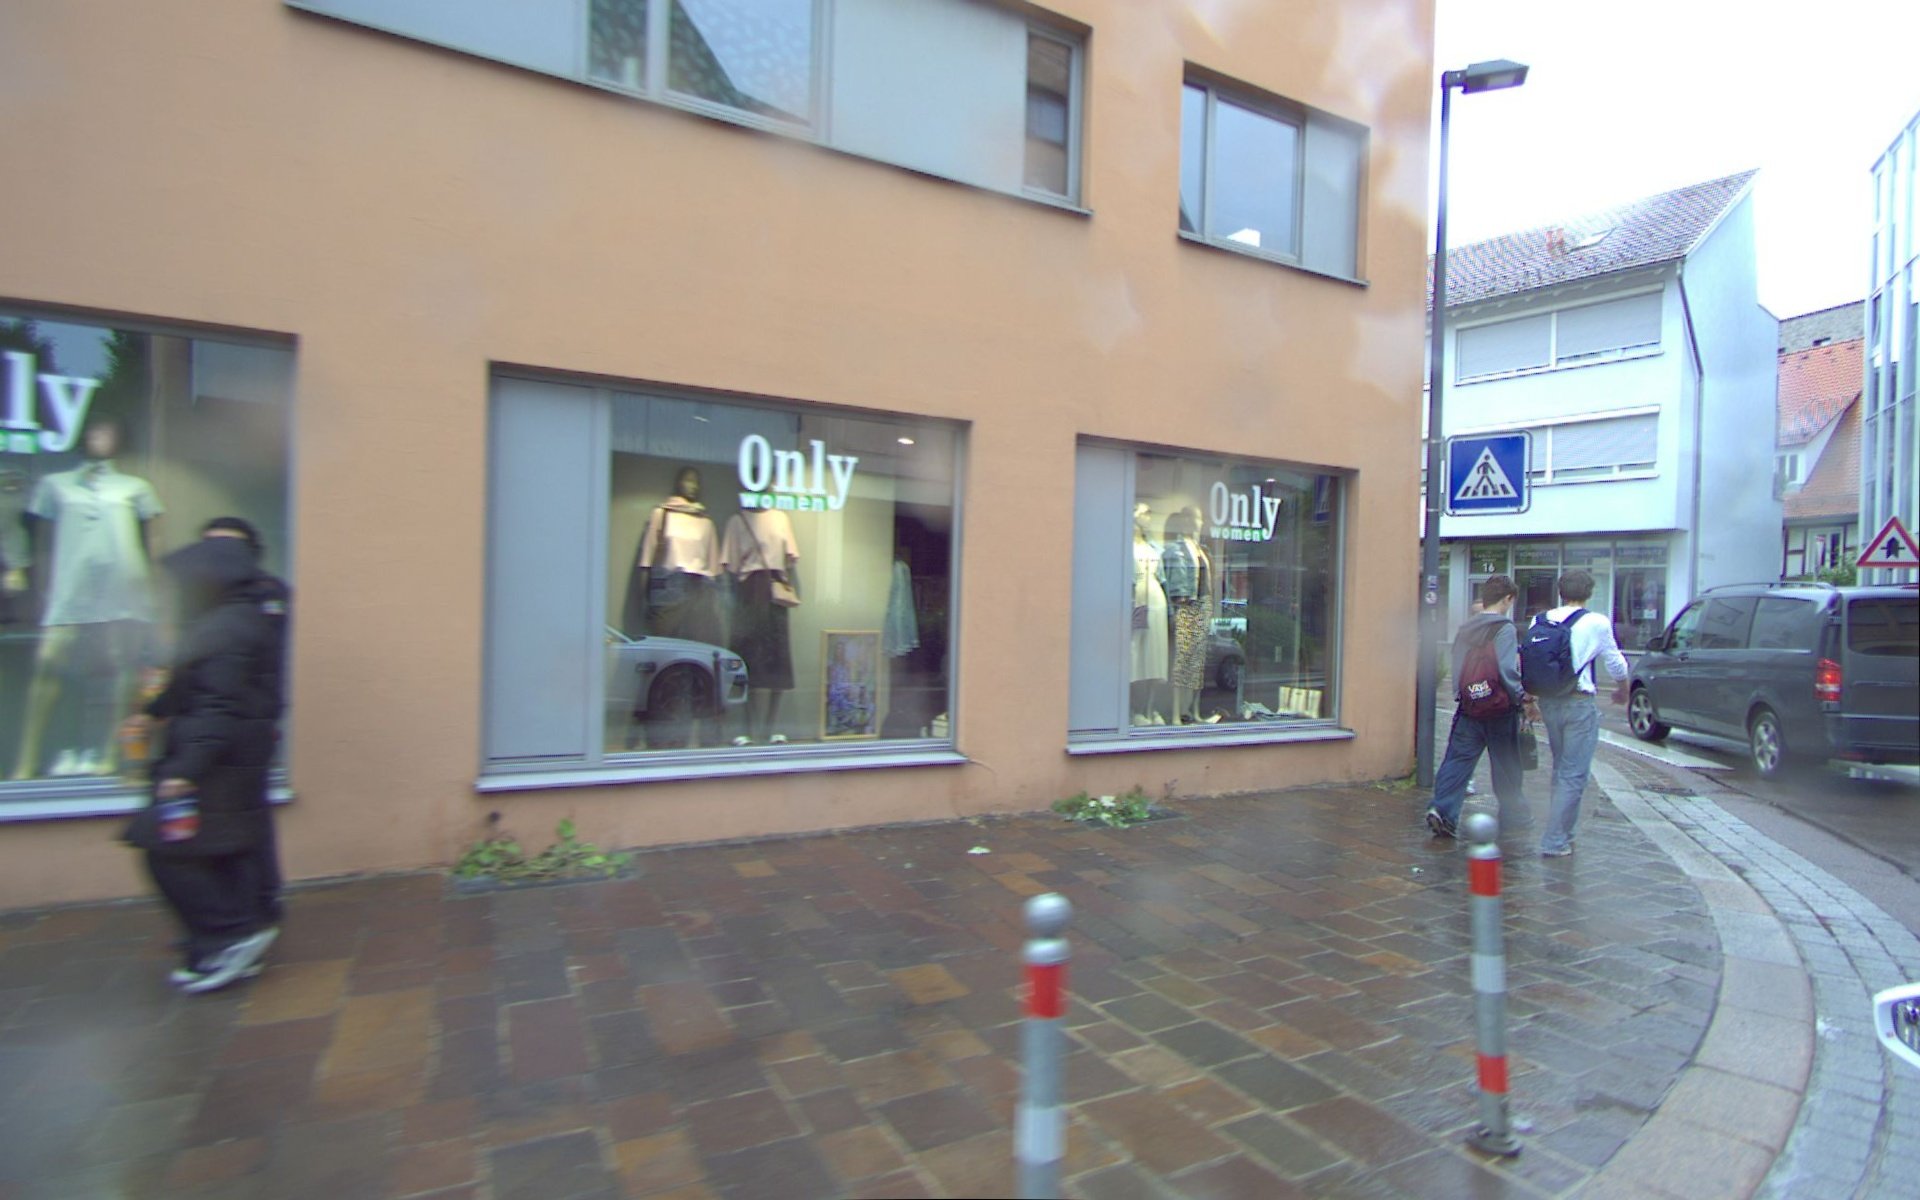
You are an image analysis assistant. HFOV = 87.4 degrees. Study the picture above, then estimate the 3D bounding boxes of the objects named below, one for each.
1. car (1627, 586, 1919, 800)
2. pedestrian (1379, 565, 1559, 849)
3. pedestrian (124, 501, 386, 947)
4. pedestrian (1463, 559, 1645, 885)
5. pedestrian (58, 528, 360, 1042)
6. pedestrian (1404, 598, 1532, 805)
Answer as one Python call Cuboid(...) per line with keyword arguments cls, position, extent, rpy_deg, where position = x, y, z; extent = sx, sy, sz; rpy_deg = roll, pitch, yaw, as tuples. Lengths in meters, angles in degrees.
Cuboid(cls="car", position=(9.055, 0.793, 10.692), extent=(1.914, 1.805, 4.728), rpy_deg=(1, 0, 17))
Cuboid(cls="pedestrian", position=(3.576, 0.704, 7.055), extent=(1.048, 1.824, 0.688), rpy_deg=(2, -1, -34))
Cuboid(cls="pedestrian", position=(-2.995, 0.488, 4.352), extent=(0.798, 1.735, 0.620), rpy_deg=(2, 1, -26))
Cuboid(cls="pedestrian", position=(3.703, 0.699, 6.248), extent=(1.053, 1.830, 0.657), rpy_deg=(2, -1, -41))
Cuboid(cls="pedestrian", position=(-2.710, 0.600, 3.719), extent=(0.736, 1.661, 0.712), rpy_deg=(2, 1, -26))
Cuboid(cls="pedestrian", position=(4.216, 0.806, 8.350), extent=(0.676, 1.631, 0.656), rpy_deg=(1, 0, -29))
